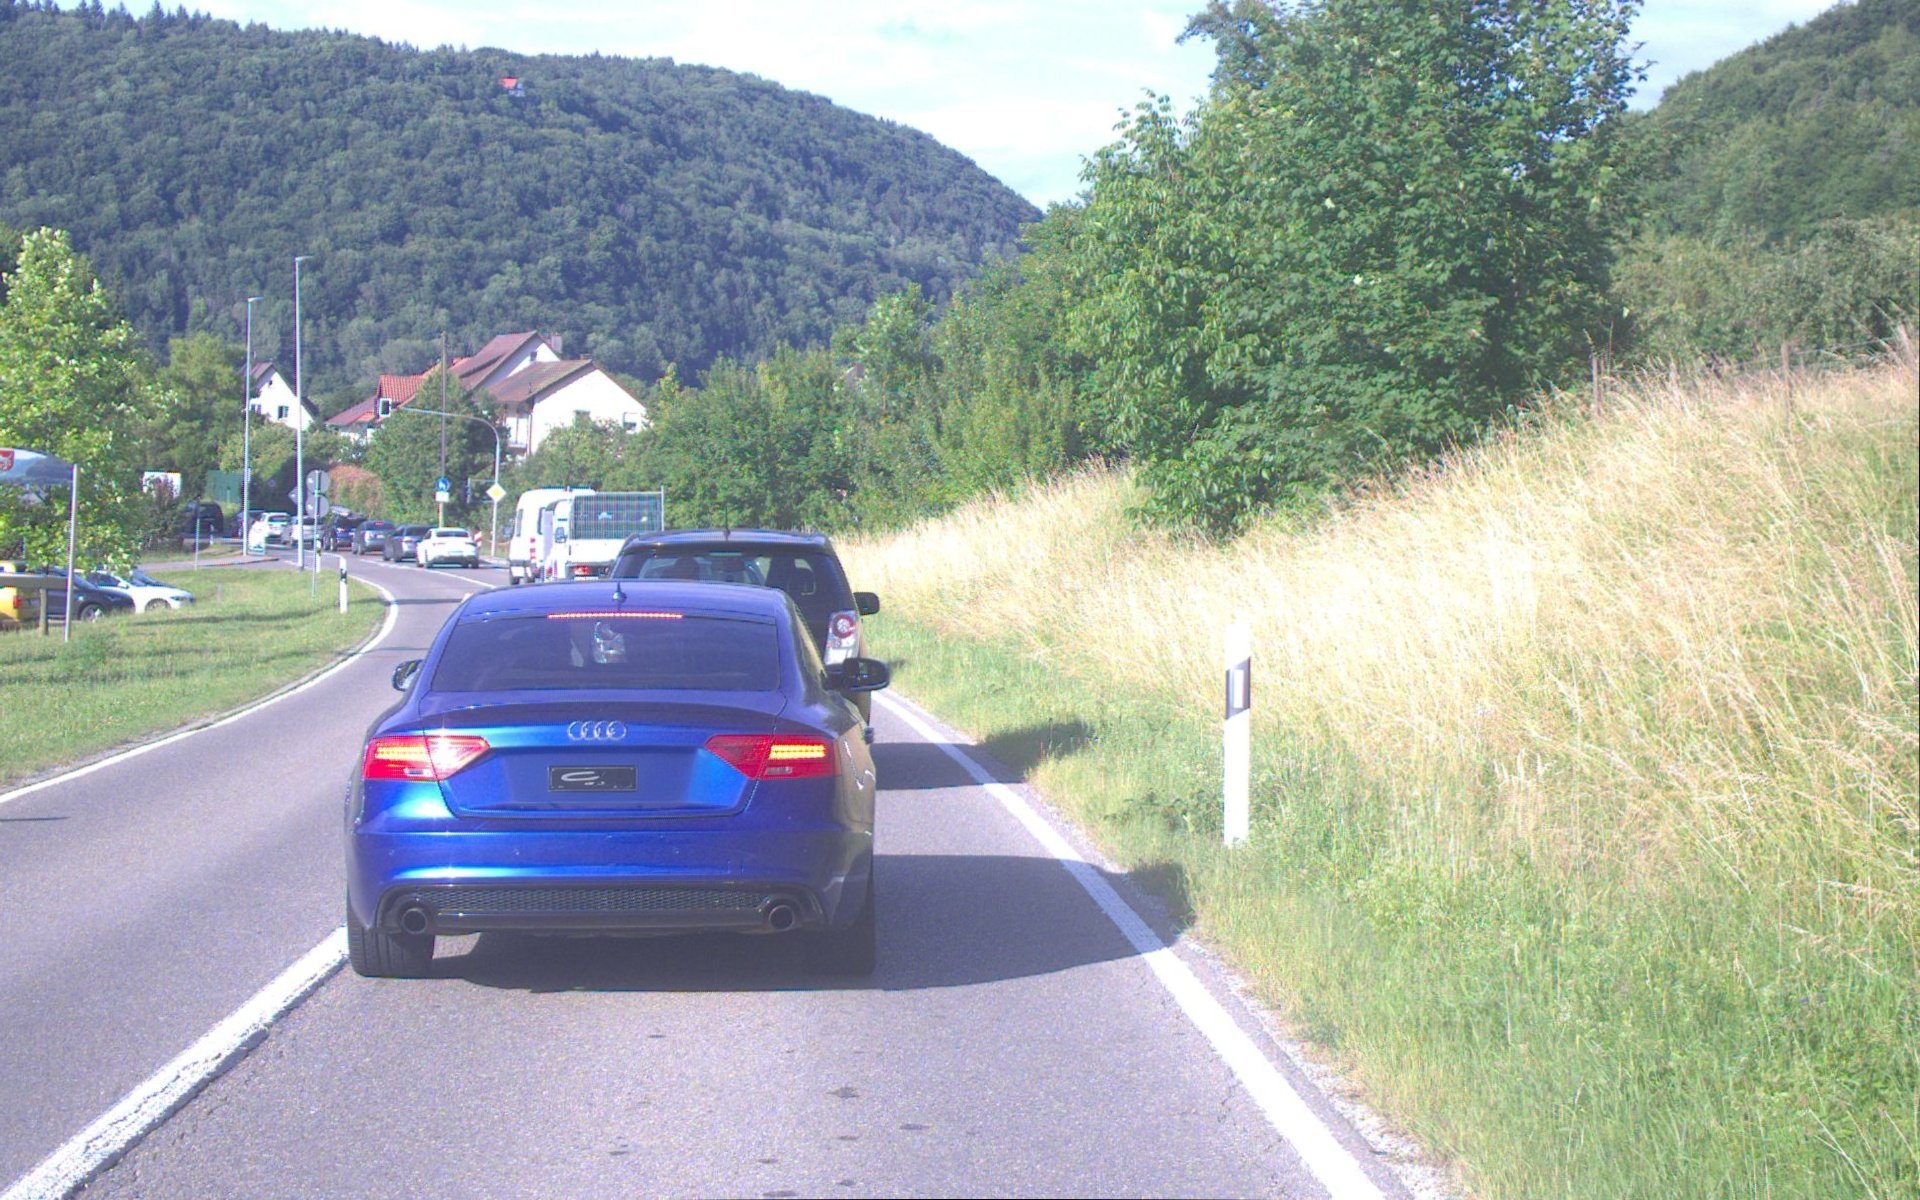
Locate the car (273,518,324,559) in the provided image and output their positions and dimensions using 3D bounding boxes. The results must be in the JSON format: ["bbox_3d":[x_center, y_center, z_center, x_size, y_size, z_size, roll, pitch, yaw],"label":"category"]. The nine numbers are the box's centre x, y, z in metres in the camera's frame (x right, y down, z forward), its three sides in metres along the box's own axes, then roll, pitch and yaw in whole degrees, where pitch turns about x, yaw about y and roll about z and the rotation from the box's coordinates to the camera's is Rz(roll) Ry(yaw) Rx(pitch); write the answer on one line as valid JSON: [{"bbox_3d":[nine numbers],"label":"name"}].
[{"bbox_3d":[-31.964,-2.974,166.152,1.676,1.918,4.001,-1,1,-21],"label":"car"}]

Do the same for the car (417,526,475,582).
[{"bbox_3d":[-18.055,-1.608,120.707,1.659,1.918,4.001,-1,1,-13],"label":"car"}]

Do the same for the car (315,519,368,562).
[{"bbox_3d":[-27.886,-2.663,154.911,1.676,1.918,4.001,-1,1,-19],"label":"car"}]

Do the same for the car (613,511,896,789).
[{"bbox_3d":[-1.377,0.268,22.180,1.645,1.619,3.517,1,1,-5],"label":"car"}]

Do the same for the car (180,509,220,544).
[{"bbox_3d":[-42.912,-4.131,194.077,1.676,1.918,4.001,-1,1,-20],"label":"car"}]

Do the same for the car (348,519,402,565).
[{"bbox_3d":[-24.791,-2.443,145.563,1.659,1.918,4.001,-1,1,-18],"label":"car"}]

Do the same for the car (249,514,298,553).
[{"bbox_3d":[-35.024,-3.383,175.385,1.676,1.918,4.001,-1,1,-22],"label":"car"}]

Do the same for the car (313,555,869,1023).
[{"bbox_3d":[-1.299,0.576,12.722,1.742,1.445,3.517,-1,1,-4],"label":"car"}]

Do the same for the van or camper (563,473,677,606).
[{"bbox_3d":[-6.756,-1.185,67.854,2.051,2.497,5.813,-1,1,-7],"label":"van or camper"}]

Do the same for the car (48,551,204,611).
[{"bbox_3d":[-24.055,-0.556,99.190,4.036,1.655,1.655,-1,1,4],"label":"car"}]

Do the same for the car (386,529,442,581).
[{"bbox_3d":[-21.067,-1.735,132.565,1.659,1.918,4.001,-1,1,-15],"label":"car"}]

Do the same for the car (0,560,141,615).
[{"bbox_3d":[-24.664,-0.348,94.824,3.713,1.434,1.509,-1,1,4],"label":"car"}]

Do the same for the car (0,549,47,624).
[{"bbox_3d":[-25.026,-0.320,84.672,4.554,1.808,1.841,-1,1,4],"label":"car"}]

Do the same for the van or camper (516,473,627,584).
[{"bbox_3d":[-9.891,-1.799,87.157,2.280,2.704,5.769,-1,1,-11],"label":"van or camper"}]
